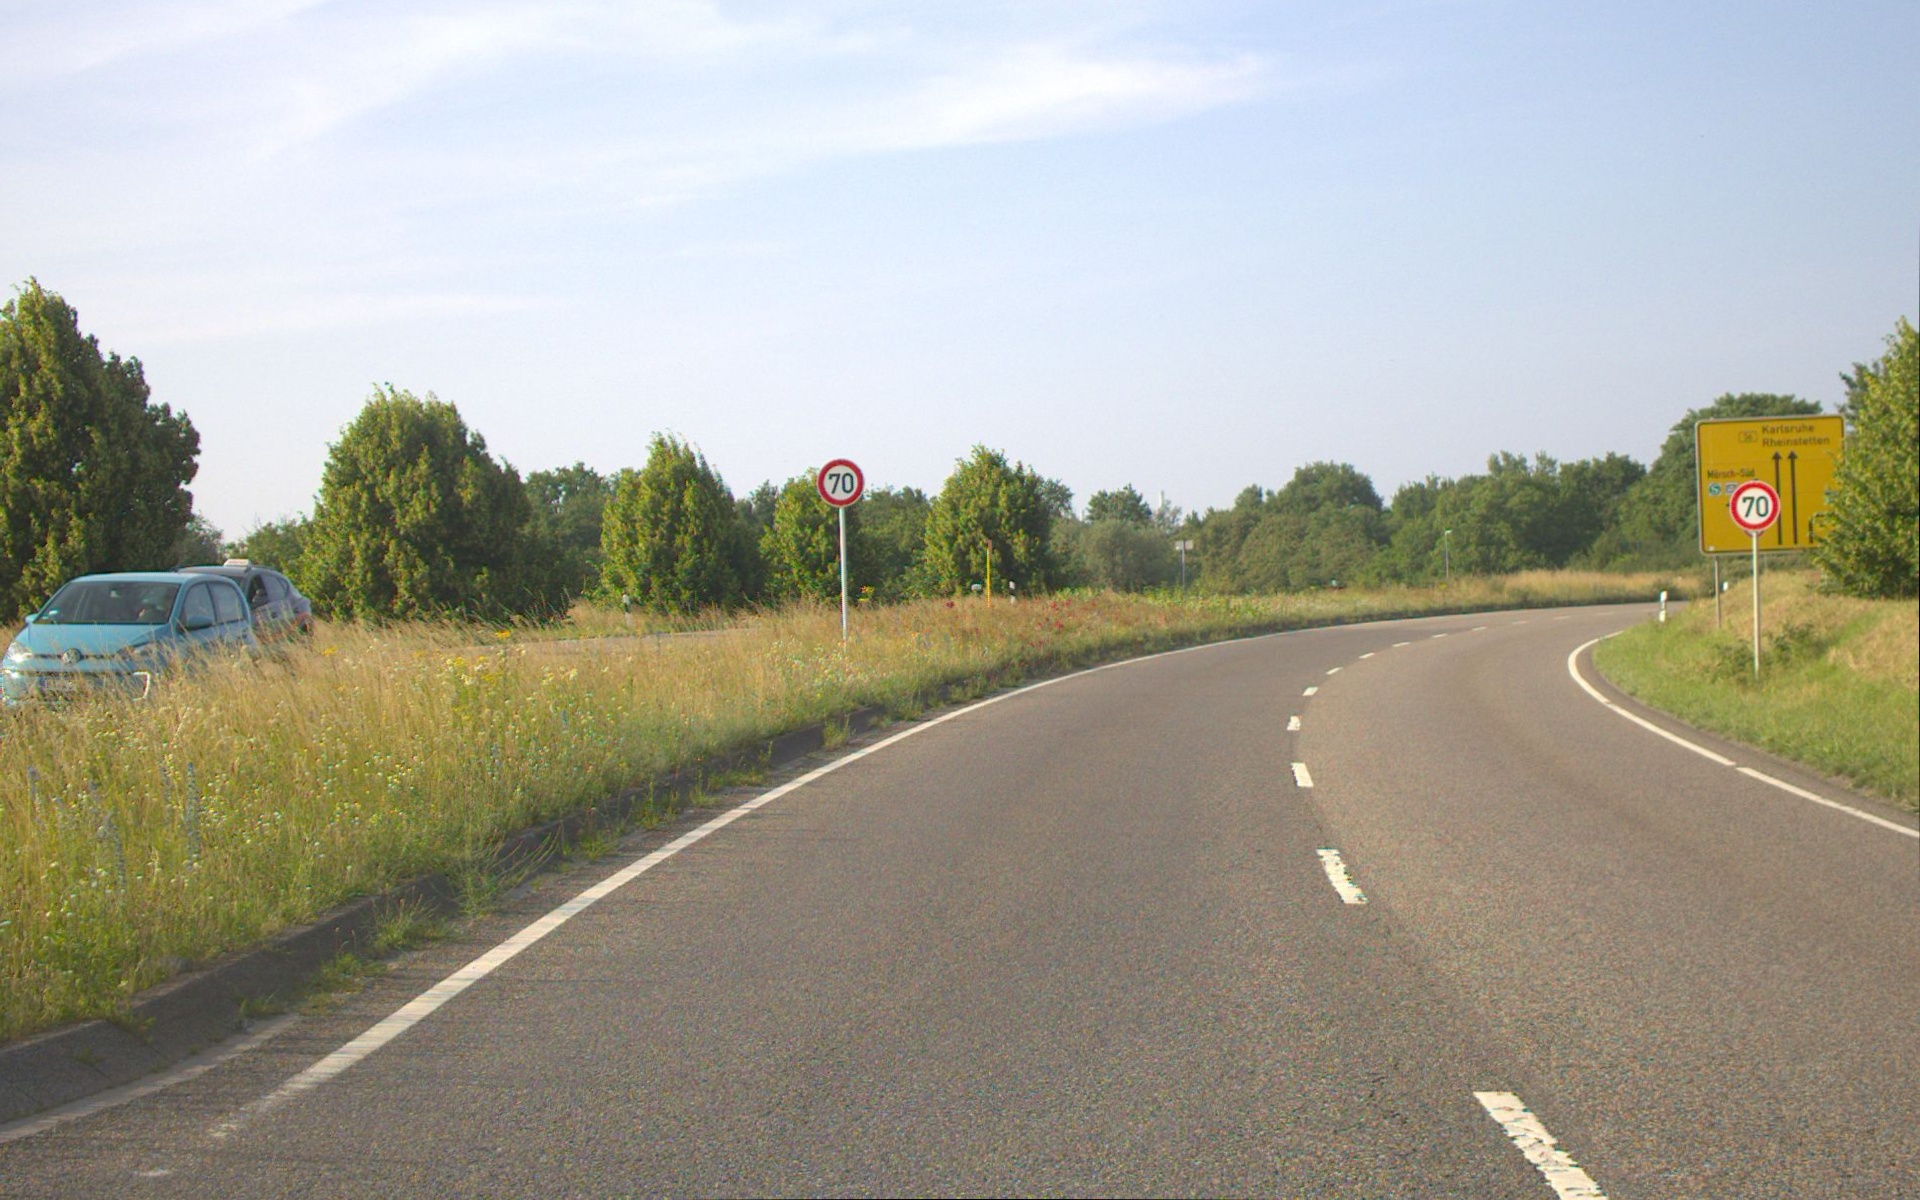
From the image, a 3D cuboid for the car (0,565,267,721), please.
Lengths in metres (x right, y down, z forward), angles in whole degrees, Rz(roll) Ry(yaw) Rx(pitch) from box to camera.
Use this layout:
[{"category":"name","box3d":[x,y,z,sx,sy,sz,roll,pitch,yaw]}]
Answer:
[{"category":"car","box3d":[-8.085,0.379,33.514,1.679,1.438,3.751,0,0,4]}]

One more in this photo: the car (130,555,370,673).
[{"category":"car","box3d":[-9.772,0.160,47.662,1.913,1.560,4.609,0,1,7]}]
